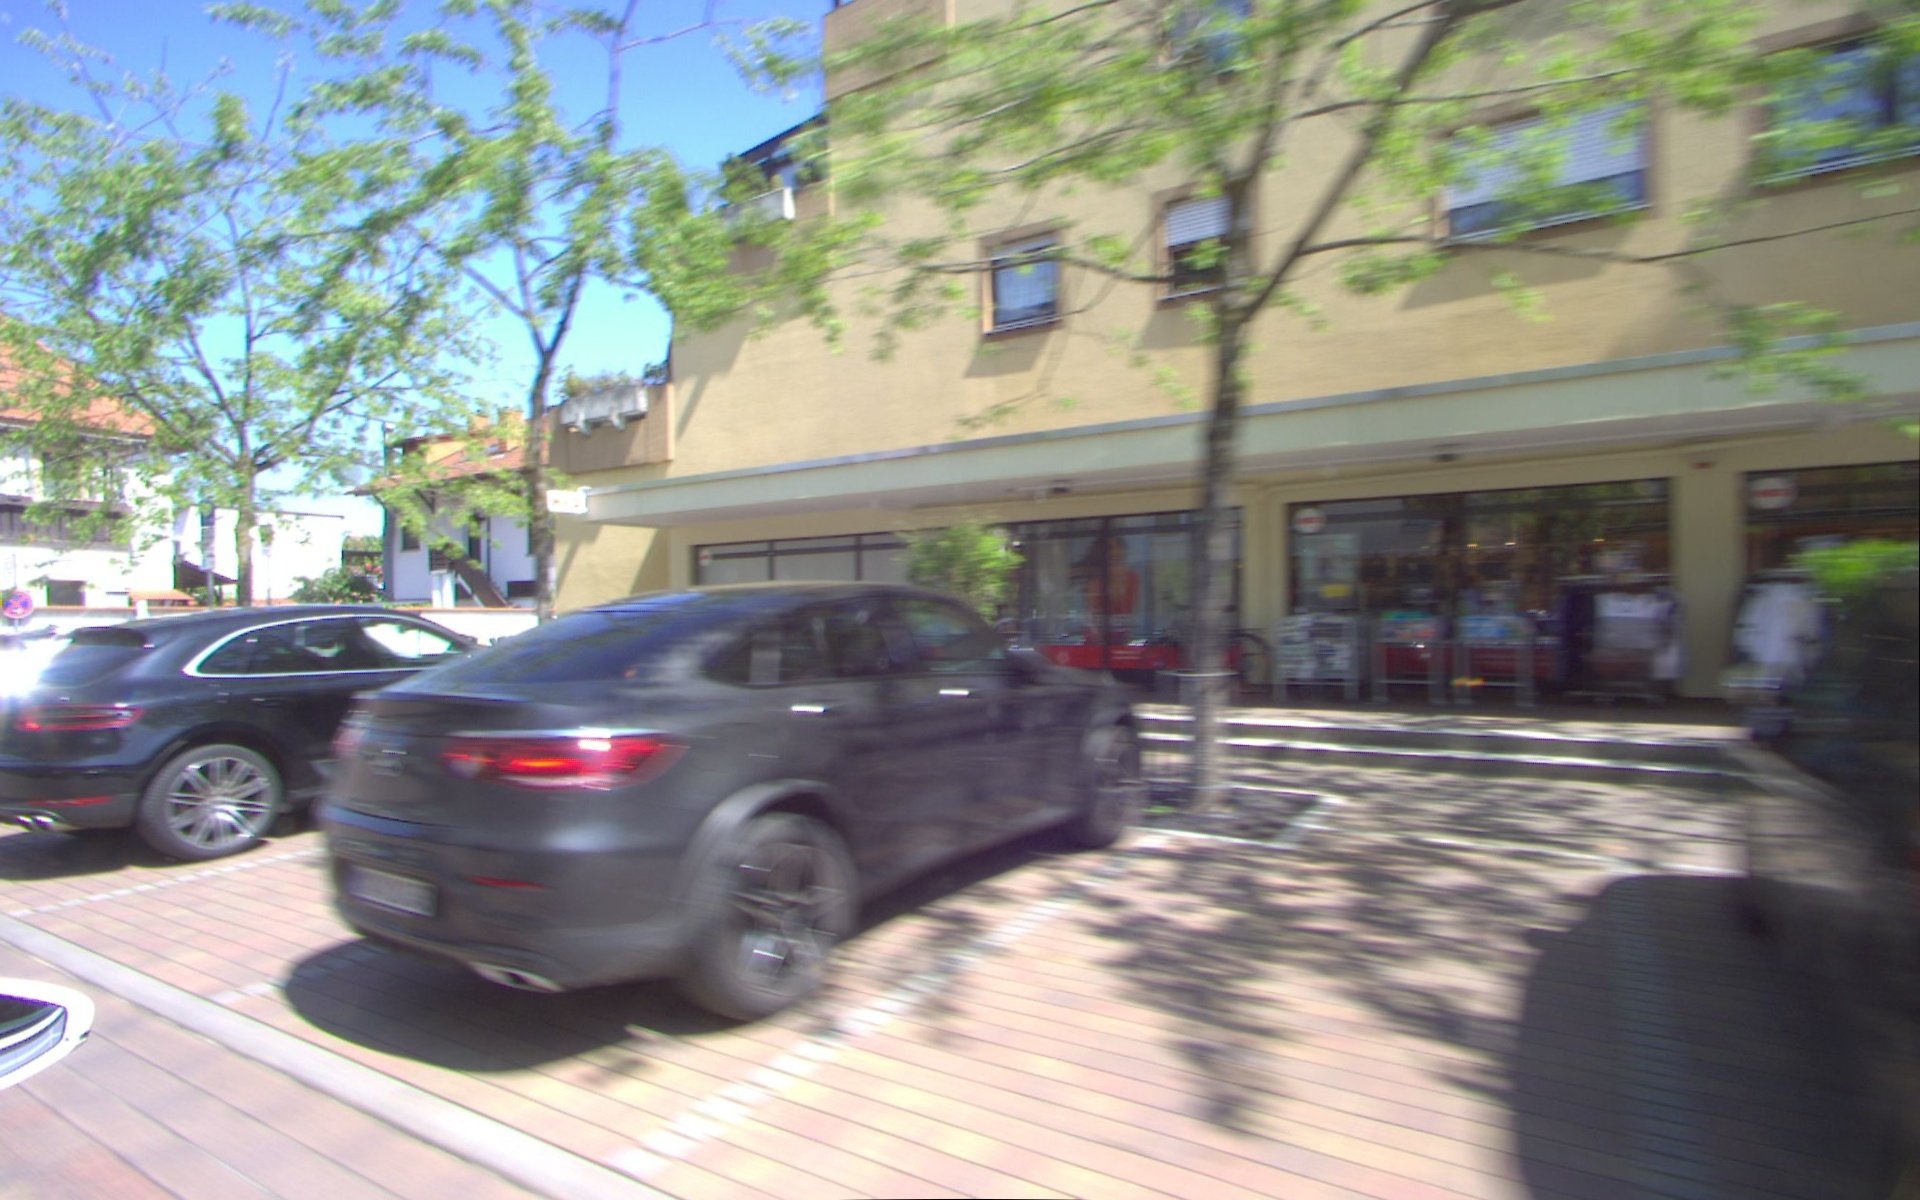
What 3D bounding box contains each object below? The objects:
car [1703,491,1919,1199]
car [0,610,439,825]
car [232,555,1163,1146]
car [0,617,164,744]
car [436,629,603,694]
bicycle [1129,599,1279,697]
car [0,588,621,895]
[{"bbox_3d":[3.268,0.594,2.770,1.658,1.633,4.016,-1,0,33],"label":"car"},{"bbox_3d":[-7.348,0.937,9.454,1.797,1.554,3.936,-1,0,31],"label":"car"},{"bbox_3d":[-0.710,0.678,5.105,1.825,1.609,4.495,-1,0,34],"label":"car"},{"bbox_3d":[-13.475,1.094,13.100,1.762,1.597,4.434,-1,0,29],"label":"car"},{"bbox_3d":[-11.109,1.497,25.439,1.631,1.471,3.608,0,-1,32],"label":"car"},{"bbox_3d":[2.962,0.589,12.254,1.750,1.138,0.411,-2,-2,35],"label":"bicycle"},{"bbox_3d":[-5.053,0.805,7.922,1.970,1.703,4.274,-1,0,29],"label":"car"}]
